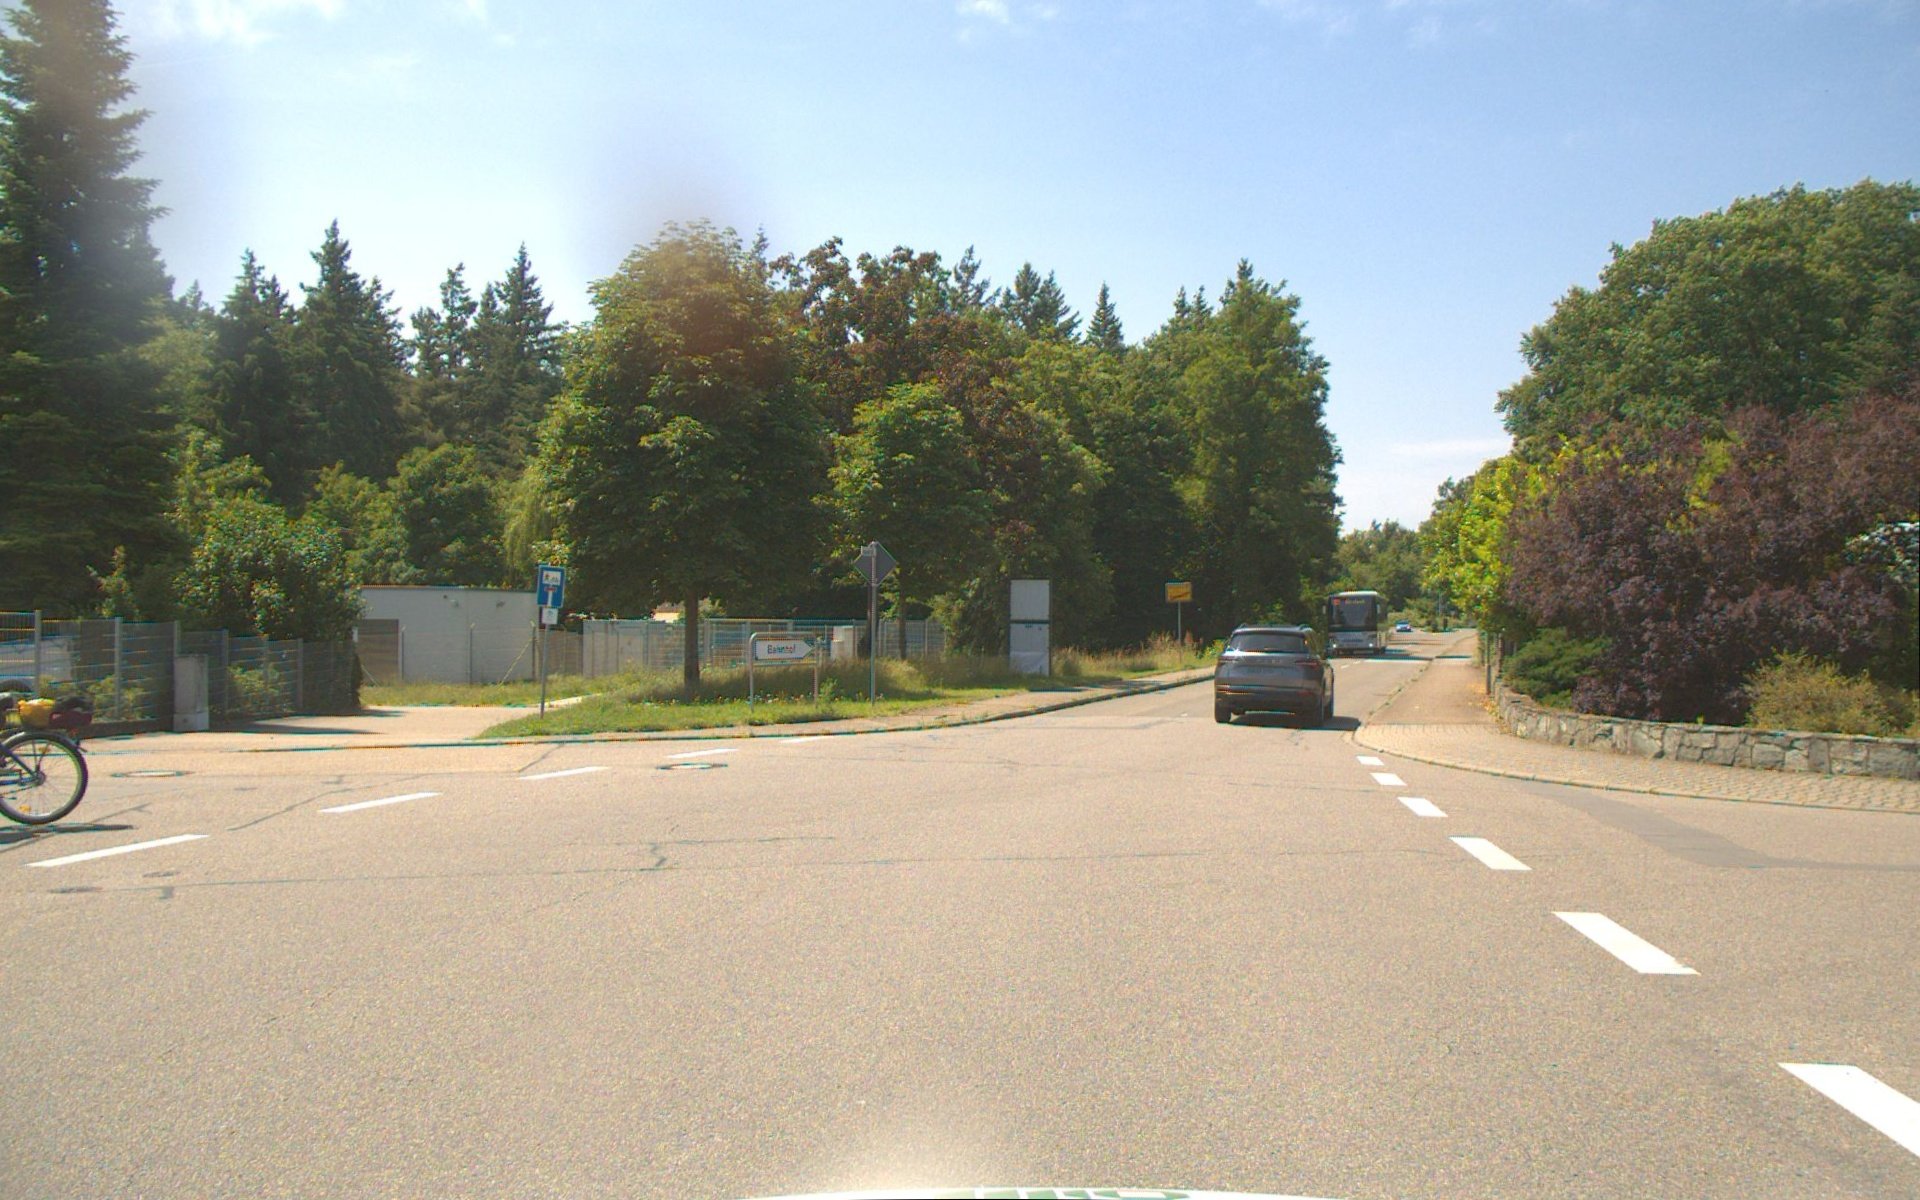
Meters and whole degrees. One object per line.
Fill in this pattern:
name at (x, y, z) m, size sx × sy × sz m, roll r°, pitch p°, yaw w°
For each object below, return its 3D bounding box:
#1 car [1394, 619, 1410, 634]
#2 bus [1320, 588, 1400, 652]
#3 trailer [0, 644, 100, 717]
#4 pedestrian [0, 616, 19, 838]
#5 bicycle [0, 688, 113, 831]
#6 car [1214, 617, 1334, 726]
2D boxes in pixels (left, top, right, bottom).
car at (57.149, 3.398, 213.767) m, size 1.909 × 1.892 × 4.003 m, roll 0°, pitch -1°, yaw 14°
bus at (22.162, 1.118, 91.169) m, size 3.115 × 3.301 × 12.715 m, roll 0°, pitch -1°, yaw 19°
trailer at (-14.752, 1.247, 25.792) m, size 2.179 × 1.103 × 1.101 m, roll 0°, pitch -1°, yaw -16°
pedestrian at (-6.901, 0.876, 11.476) m, size 0.604 × 1.527 × 0.498 m, roll 1°, pitch -1°, yaw -34°
bicycle at (-7.080, 1.141, 11.783) m, size 1.826 × 0.981 × 0.438 m, roll 1°, pitch -1°, yaw -34°
car at (5.344, 1.161, 27.818) m, size 1.725 × 1.646 × 4.003 m, roll 1°, pitch -1°, yaw 14°
